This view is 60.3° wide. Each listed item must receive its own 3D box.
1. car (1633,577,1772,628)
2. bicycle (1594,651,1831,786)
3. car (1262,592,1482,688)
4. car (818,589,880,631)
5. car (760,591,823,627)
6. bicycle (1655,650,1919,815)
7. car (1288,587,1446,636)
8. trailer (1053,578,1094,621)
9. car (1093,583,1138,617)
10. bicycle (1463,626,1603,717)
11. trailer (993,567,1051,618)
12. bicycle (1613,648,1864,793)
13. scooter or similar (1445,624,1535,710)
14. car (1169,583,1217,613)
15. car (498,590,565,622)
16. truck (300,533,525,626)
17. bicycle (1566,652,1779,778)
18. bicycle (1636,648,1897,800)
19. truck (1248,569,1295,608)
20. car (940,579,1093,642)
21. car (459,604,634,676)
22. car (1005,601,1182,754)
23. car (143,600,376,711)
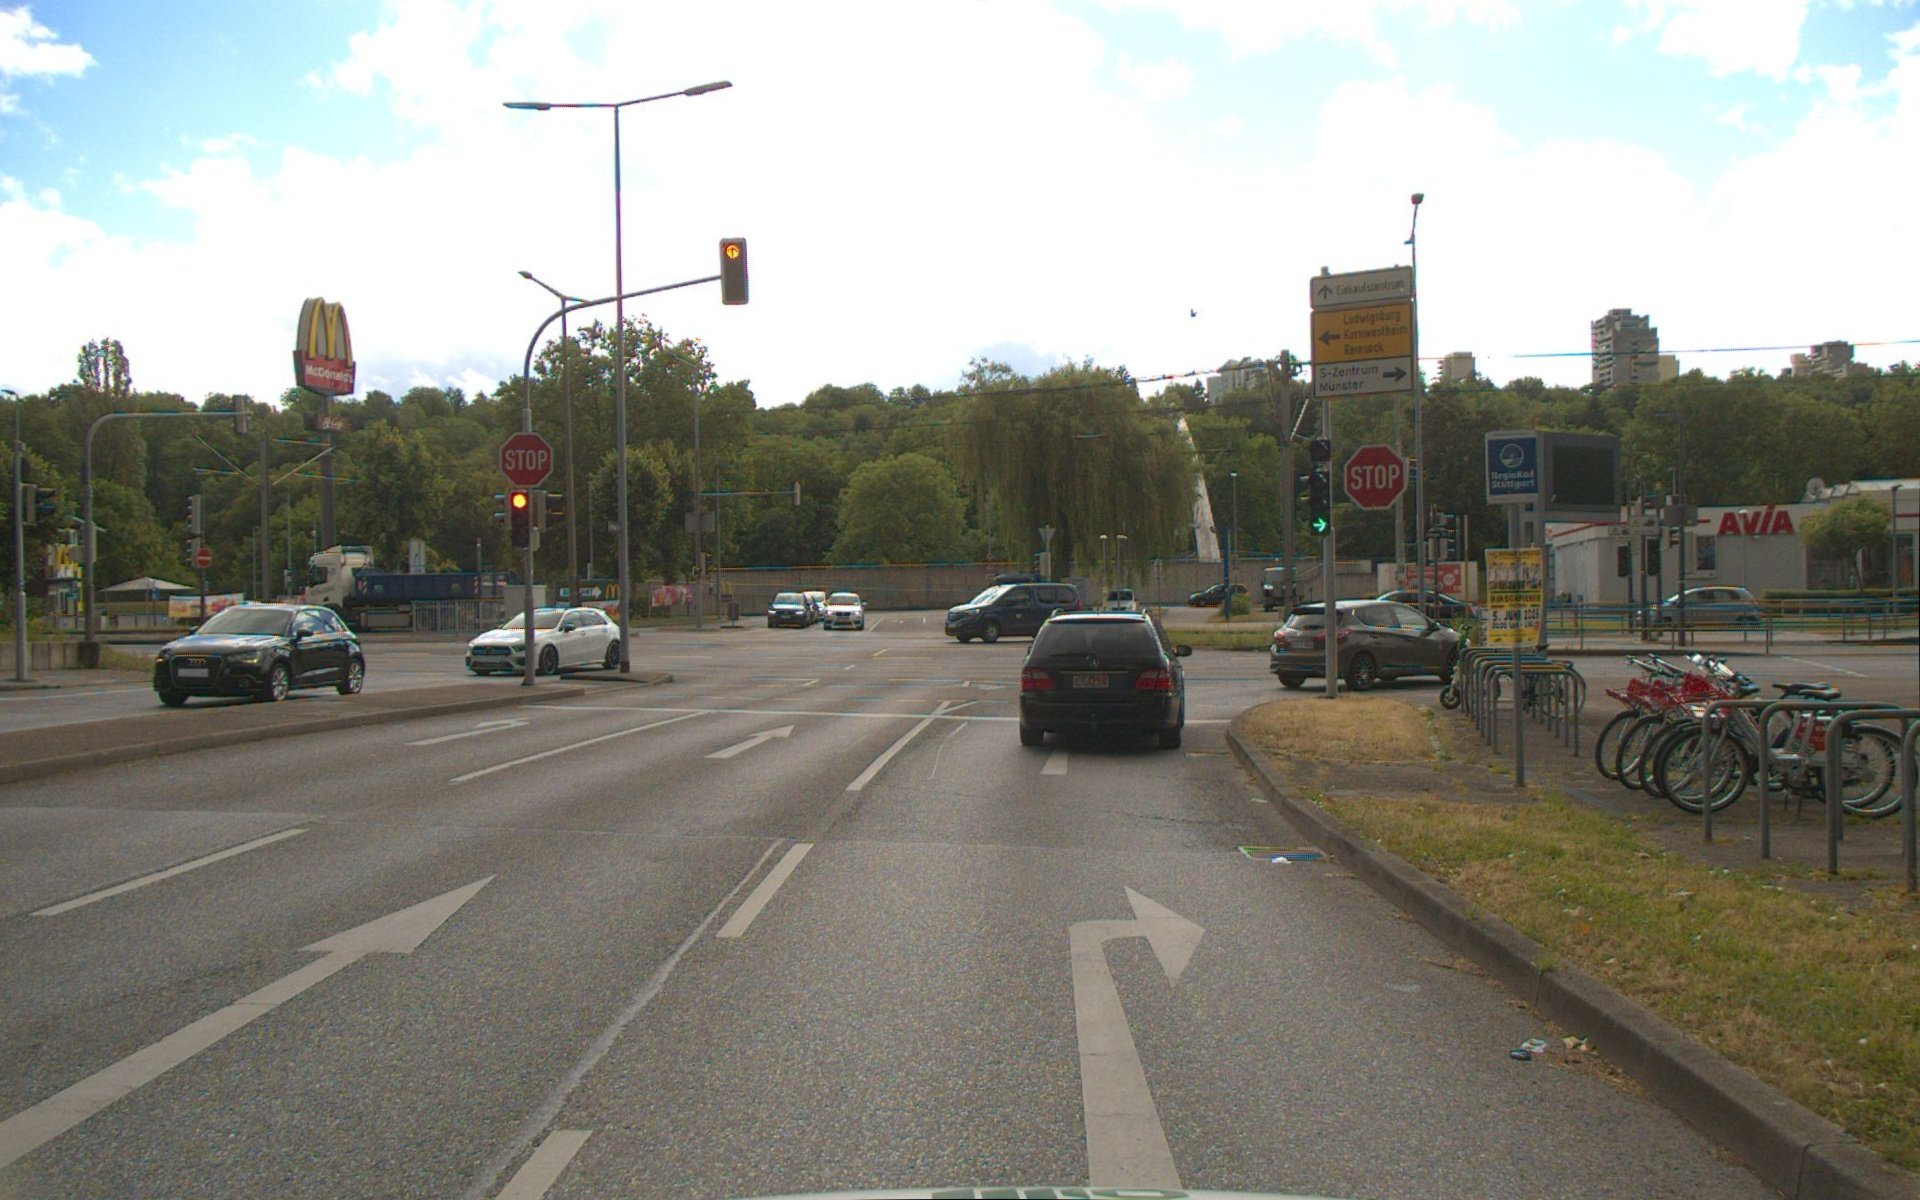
[{"bbox_3d":[23.535,0.081,52.506,3.689,1.534,1.705,-1,0,8],"label":"car"},{"bbox_3d":[6.400,1.002,14.121,1.741,1.130,0.541,0,-2,4],"label":"bicycle"},{"bbox_3d":[7.414,0.660,29.599,4.107,1.557,1.708,-1,0,-39],"label":"car"},{"bbox_3d":[-5.188,0.439,77.840,1.951,1.892,4.004,-1,0,11],"label":"car"},{"bbox_3d":[-8.122,0.399,80.050,1.951,1.668,4.004,-1,0,11],"label":"car"},{"bbox_3d":[5.991,0.939,11.964,1.742,1.130,0.425,-1,-1,23],"label":"bicycle"},{"bbox_3d":[13.380,0.376,54.570,4.943,1.550,1.745,-1,0,10],"label":"car"},{"bbox_3d":[6.221,-0.017,90.228,1.951,2.222,4.003,-2,-1,7],"label":"trailer"},{"bbox_3d":[8.382,-0.016,88.836,1.951,1.780,4.004,-1,0,11],"label":"car"},{"bbox_3d":[7.453,0.929,21.541,1.654,1.130,0.479,-1,2,4],"label":"bicycle"},{"bbox_3d":[3.368,-0.375,88.707,2.302,2.627,4.924,-2,-1,11],"label":"trailer"},{"bbox_3d":[6.301,0.970,13.447,1.741,1.130,0.580,0,-1,4],"label":"bicycle"},{"bbox_3d":[7.396,0.938,23.117,1.156,1.190,0.294,-1,0,11],"label":"scooter or similar"},{"bbox_3d":[15.270,-0.129,108.346,3.083,1.850,1.404,-2,-1,10],"label":"car"},{"bbox_3d":[-28.954,0.393,111.798,3.902,2.049,2.001,-2,-1,6],"label":"car"},{"bbox_3d":[-23.728,-0.848,71.759,8.906,3.650,3.222,-2,-1,15],"label":"truck"},{"bbox_3d":[6.631,1.060,15.445,1.741,1.130,0.553,0,-1,4],"label":"bicycle"},{"bbox_3d":[6.182,0.945,12.735,1.740,1.130,0.455,-1,-1,9],"label":"bicycle"},{"bbox_3d":[17.347,-0.622,91.956,2.187,2.049,5.244,-2,-1,14],"label":"truck"},{"bbox_3d":[1.742,0.296,50.816,4.488,1.805,1.594,-1,0,-26],"label":"car"},{"bbox_3d":[-9.038,0.841,36.532,1.567,1.430,4.292,-1,0,21],"label":"car"},{"bbox_3d":[1.679,0.798,19.340,1.783,1.535,4.578,0,0,8],"label":"car"},{"bbox_3d":[-10.188,0.756,24.363,1.582,1.441,3.897,-1,0,3],"label":"car"}]
